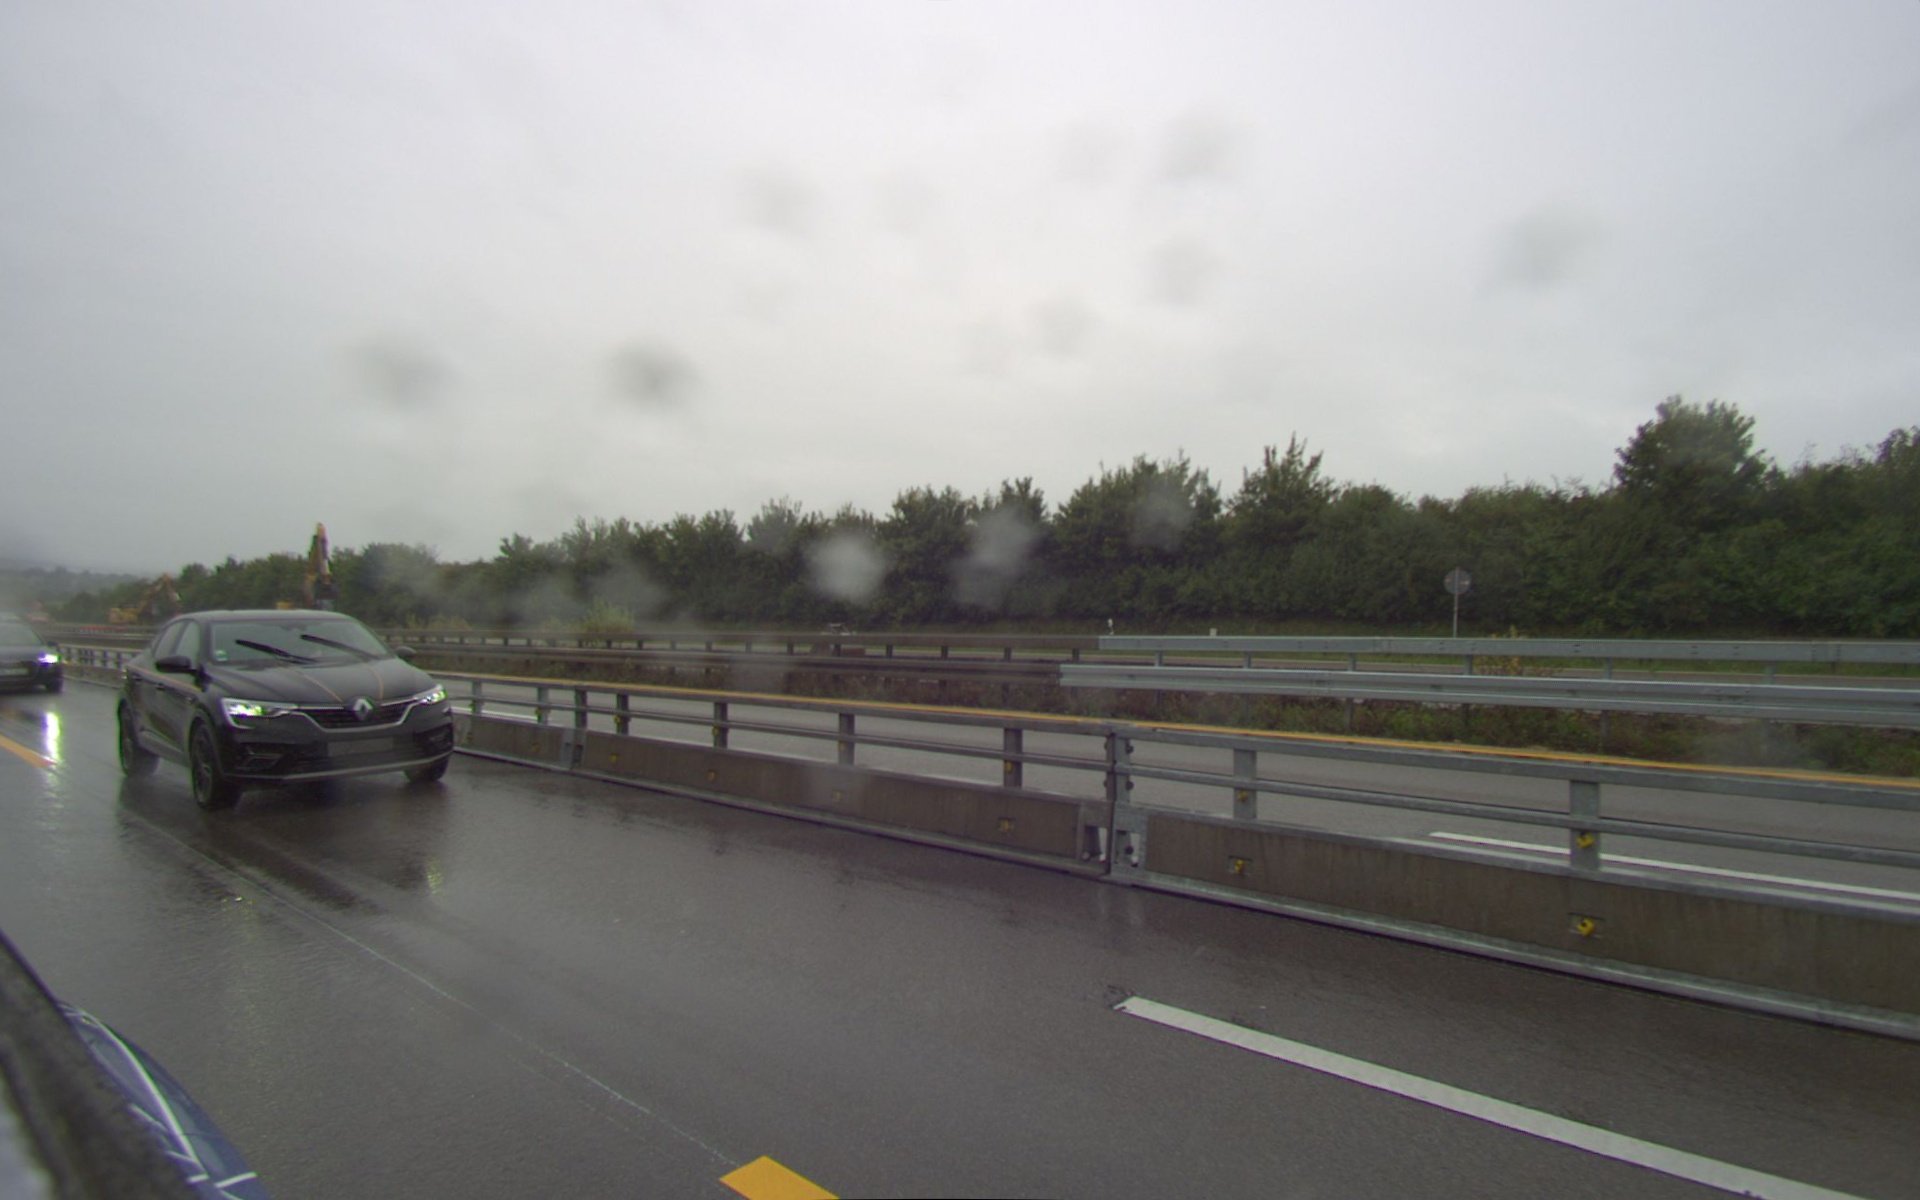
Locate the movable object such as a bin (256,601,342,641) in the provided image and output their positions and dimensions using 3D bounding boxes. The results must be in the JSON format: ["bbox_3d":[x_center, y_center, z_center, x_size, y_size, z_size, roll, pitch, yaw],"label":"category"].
[{"bbox_3d":[-49.017,1.535,75.011,6.326,2.819,3.726,-1,0,41],"label":"movable object such as a bin"}]

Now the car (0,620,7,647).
[{"bbox_3d":[-63.437,2.187,65.545,5.098,1.730,1.931,-1,0,40],"label":"car"}]

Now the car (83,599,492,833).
[{"bbox_3d":[-6.235,0.829,9.170,4.411,1.597,1.973,-1,0,41],"label":"car"}]

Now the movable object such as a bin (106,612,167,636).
[{"bbox_3d":[-81.676,2.352,100.377,5.087,2.312,3.410,-1,0,34],"label":"movable object such as a bin"}]

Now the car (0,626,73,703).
[{"bbox_3d":[-20.884,1.332,21.794,4.626,1.509,1.974,-1,-1,40],"label":"car"}]
